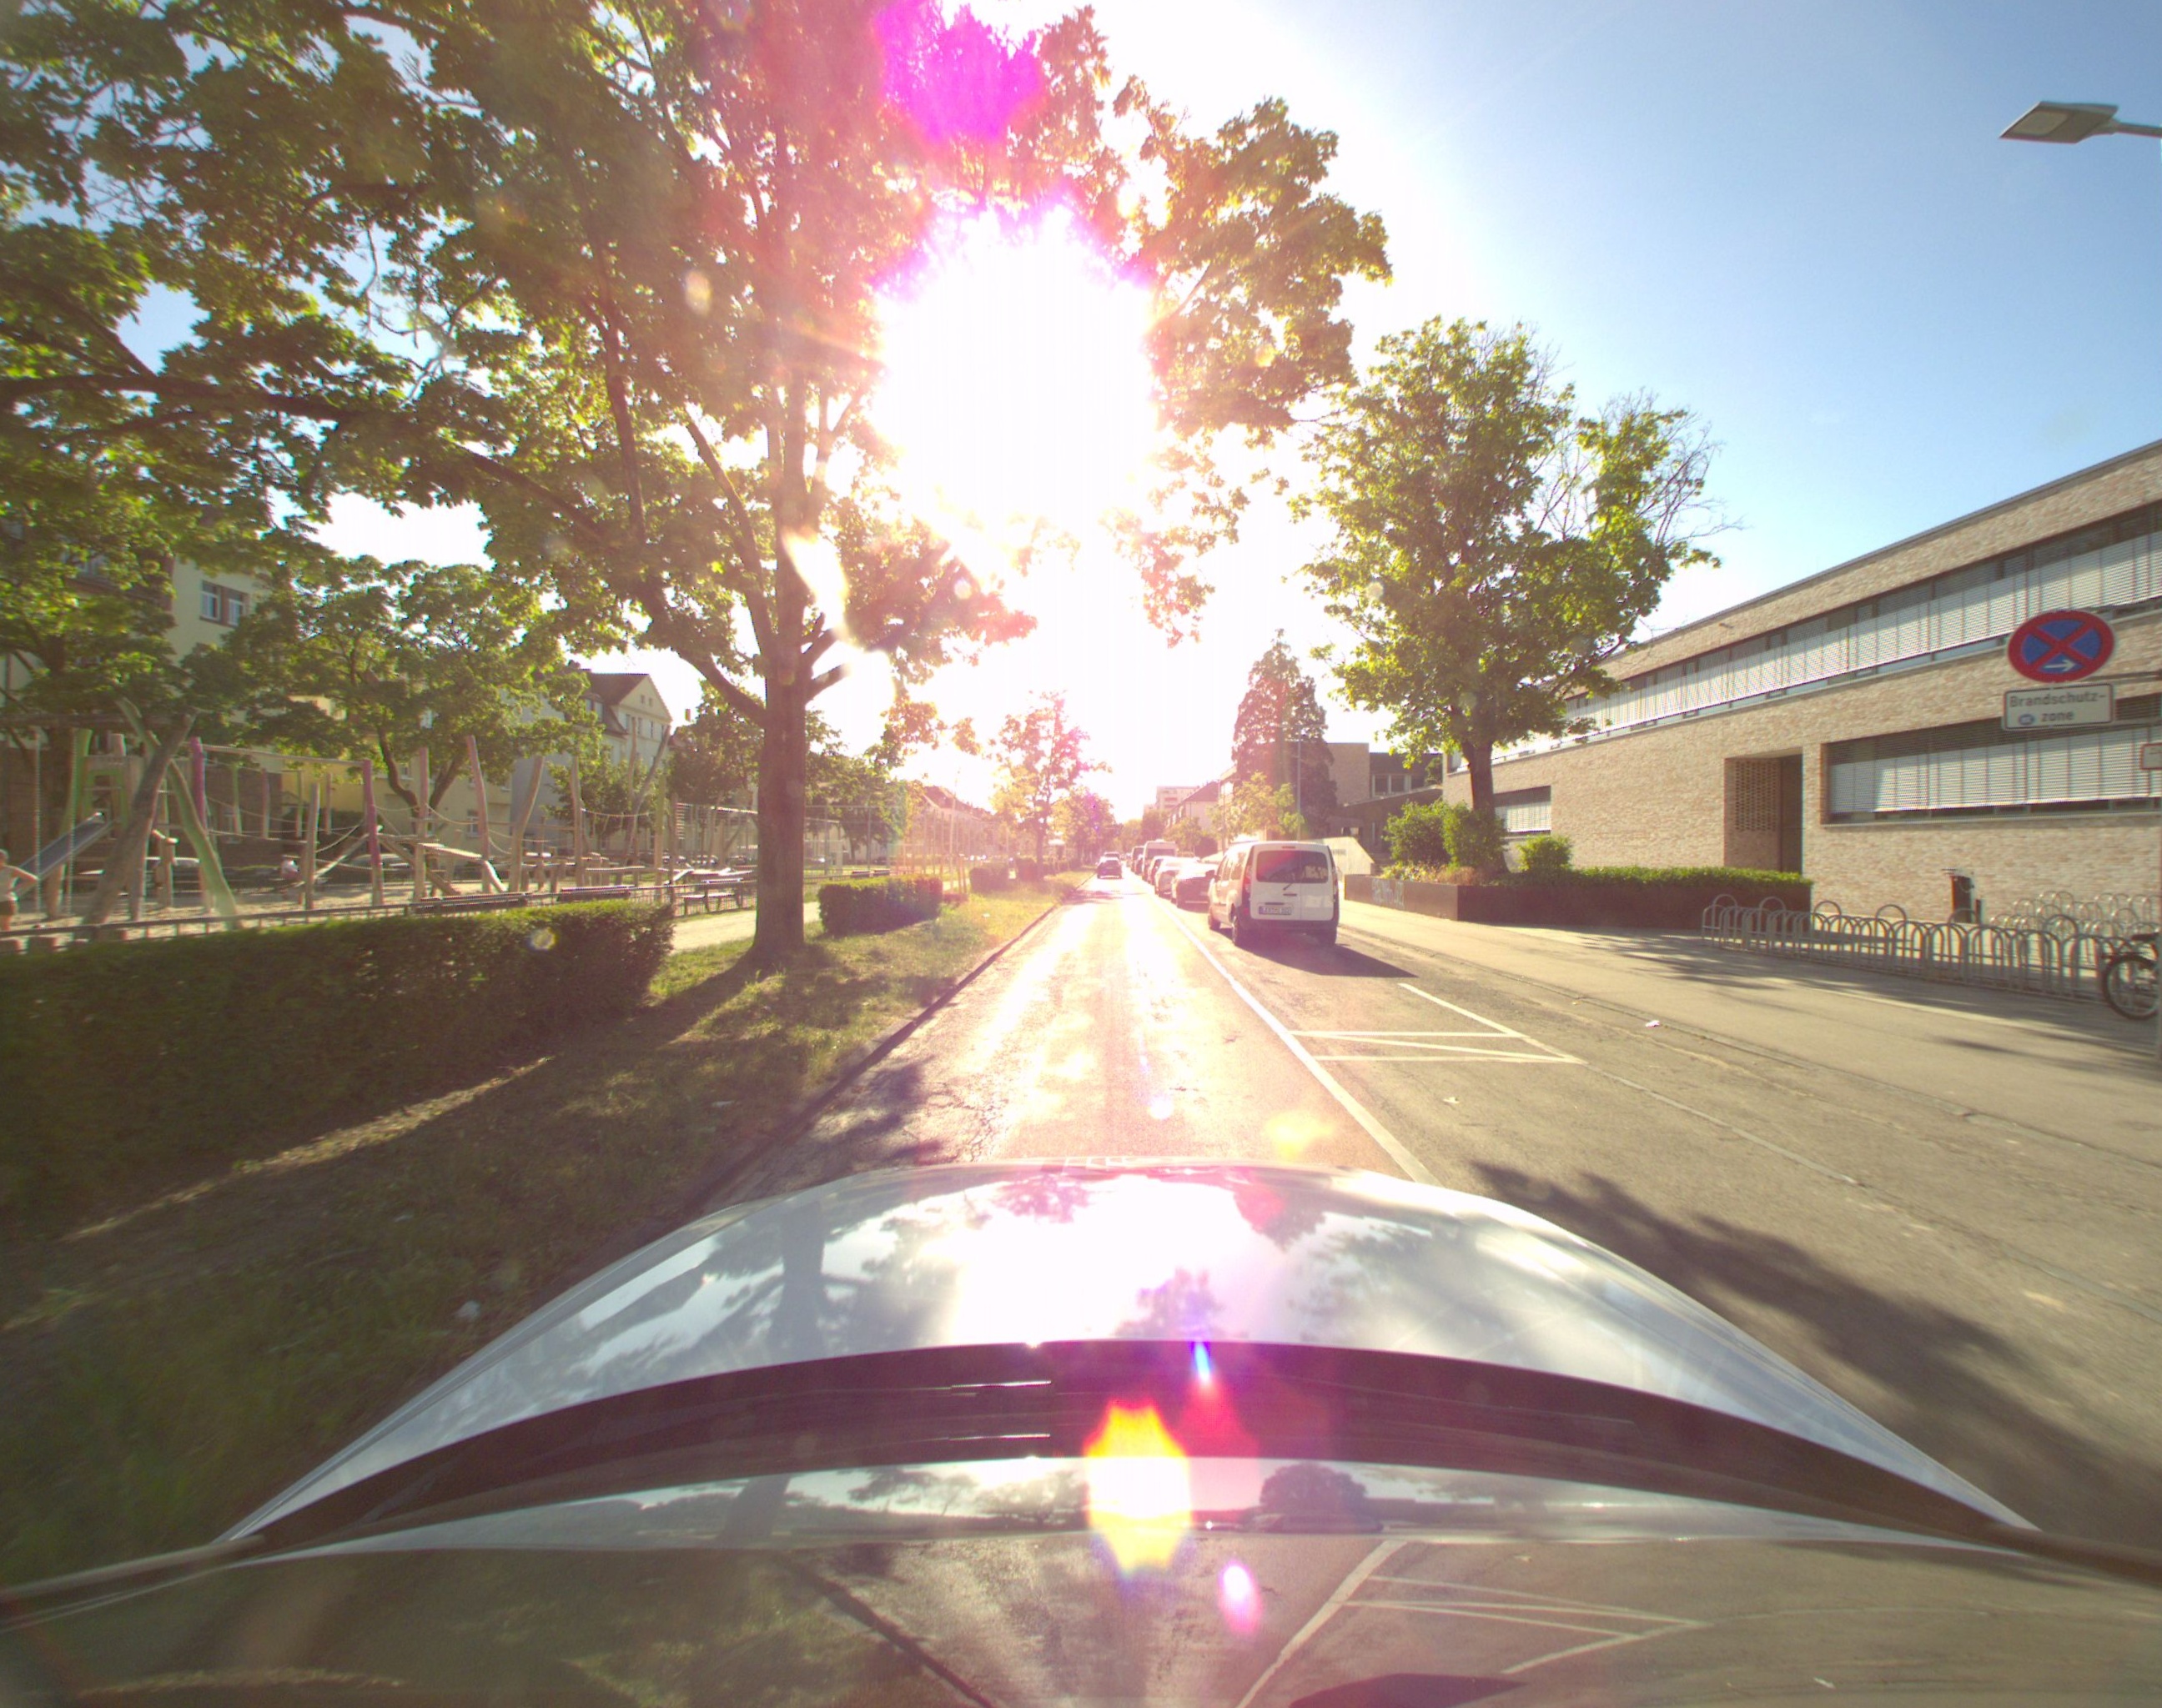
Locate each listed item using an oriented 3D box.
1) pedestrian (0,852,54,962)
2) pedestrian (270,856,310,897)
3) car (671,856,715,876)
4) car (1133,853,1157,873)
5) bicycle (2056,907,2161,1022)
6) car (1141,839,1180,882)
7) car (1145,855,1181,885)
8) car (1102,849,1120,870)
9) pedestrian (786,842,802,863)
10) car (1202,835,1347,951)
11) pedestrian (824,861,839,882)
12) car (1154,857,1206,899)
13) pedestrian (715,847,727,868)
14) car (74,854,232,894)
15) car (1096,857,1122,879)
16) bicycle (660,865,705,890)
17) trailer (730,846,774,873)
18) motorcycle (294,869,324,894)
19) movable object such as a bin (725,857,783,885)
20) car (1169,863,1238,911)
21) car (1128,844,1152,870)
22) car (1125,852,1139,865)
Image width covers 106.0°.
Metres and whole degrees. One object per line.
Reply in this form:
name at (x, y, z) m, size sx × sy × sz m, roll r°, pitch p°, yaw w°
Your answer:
pedestrian at (-16.489, 0.799, 12.542) m, size 0.642 × 1.661 × 0.653 m, roll 0°, pitch 0°, yaw 20°
pedestrian at (-25.694, 0.718, 26.463) m, size 0.646 × 1.318 × 0.650 m, roll 0°, pitch 0°, yaw -1°
car at (-36.265, 1.121, 76.168) m, size 1.787 × 1.777 × 4.491 m, roll 1°, pitch 0°, yaw 3°
car at (5.451, 0.748, 69.986) m, size 1.839 × 1.640 × 4.505 m, roll 0°, pitch 0°, yaw 2°
bicycle at (10.514, 1.066, 7.837) m, size 1.663 × 1.029 × 0.500 m, roll 2°, pitch 0°, yaw -1°
car at (5.057, 0.400, 52.420) m, size 2.232 × 2.574 × 5.436 m, roll 1°, pitch 0°, yaw 3°
car at (4.441, 0.840, 44.666) m, size 1.614 × 1.588 × 3.592 m, roll 0°, pitch 0°, yaw 0°
car at (3.113, 0.535, 83.483) m, size 1.787 × 2.122 × 4.003 m, roll 0°, pitch 0°, yaw 3°
pedestrian at (-18.336, -0.100, 52.059) m, size 0.642 × 1.318 × 0.654 m, roll 0°, pitch 0°, yaw 31°
car at (3.547, 0.644, 15.752) m, size 1.801 × 1.908 × 4.462 m, roll 1°, pitch 0°, yaw 1°
pedestrian at (-16.210, 1.136, 52.925) m, size 0.642 × 1.318 × 0.654 m, roll 0°, pitch 0°, yaw 31°
car at (3.819, 0.893, 32.018) m, size 1.694 × 1.478 × 4.176 m, roll 1°, pitch 0°, yaw 3°
pedestrian at (-28.065, 0.256, 63.491) m, size 0.645 × 1.661 × 0.650 m, roll -1°, pitch 0°, yaw 2°
car at (-38.016, 0.791, 33.532) m, size 1.787 × 1.510 × 4.003 m, roll 1°, pitch 0°, yaw 2°
car at (2.060, 0.997, 58.389) m, size 1.787 × 1.510 × 4.003 m, roll 0°, pitch 0°, yaw 3°
bicycle at (-18.132, 1.050, 37.097) m, size 1.788 × 1.107 × 0.500 m, roll 0°, pitch 0°, yaw 0°
trailer at (-36.152, 0.538, 89.726) m, size 2.334 × 2.870 × 5.805 m, roll 1°, pitch 0°, yaw 2°
motorcycle at (-25.663, 0.913, 27.082) m, size 0.699 × 0.826 × 0.284 m, roll 0°, pitch 0°, yaw 0°
movable object such as a bin at (-15.408, 0.792, 38.417) m, size 2.324 × 1.242 × 1.055 m, roll -1°, pitch 0°, yaw -2°
car at (3.762, 0.978, 25.560) m, size 1.695 × 1.325 × 4.131 m, roll 1°, pitch 0°, yaw 2°
car at (5.920, 0.318, 82.096) m, size 2.108 × 2.515 × 6.533 m, roll 0°, pitch 0°, yaw 1°
car at (7.254, 0.602, 115.721) m, size 1.786 × 1.855 × 4.418 m, roll 0°, pitch 0°, yaw 4°
